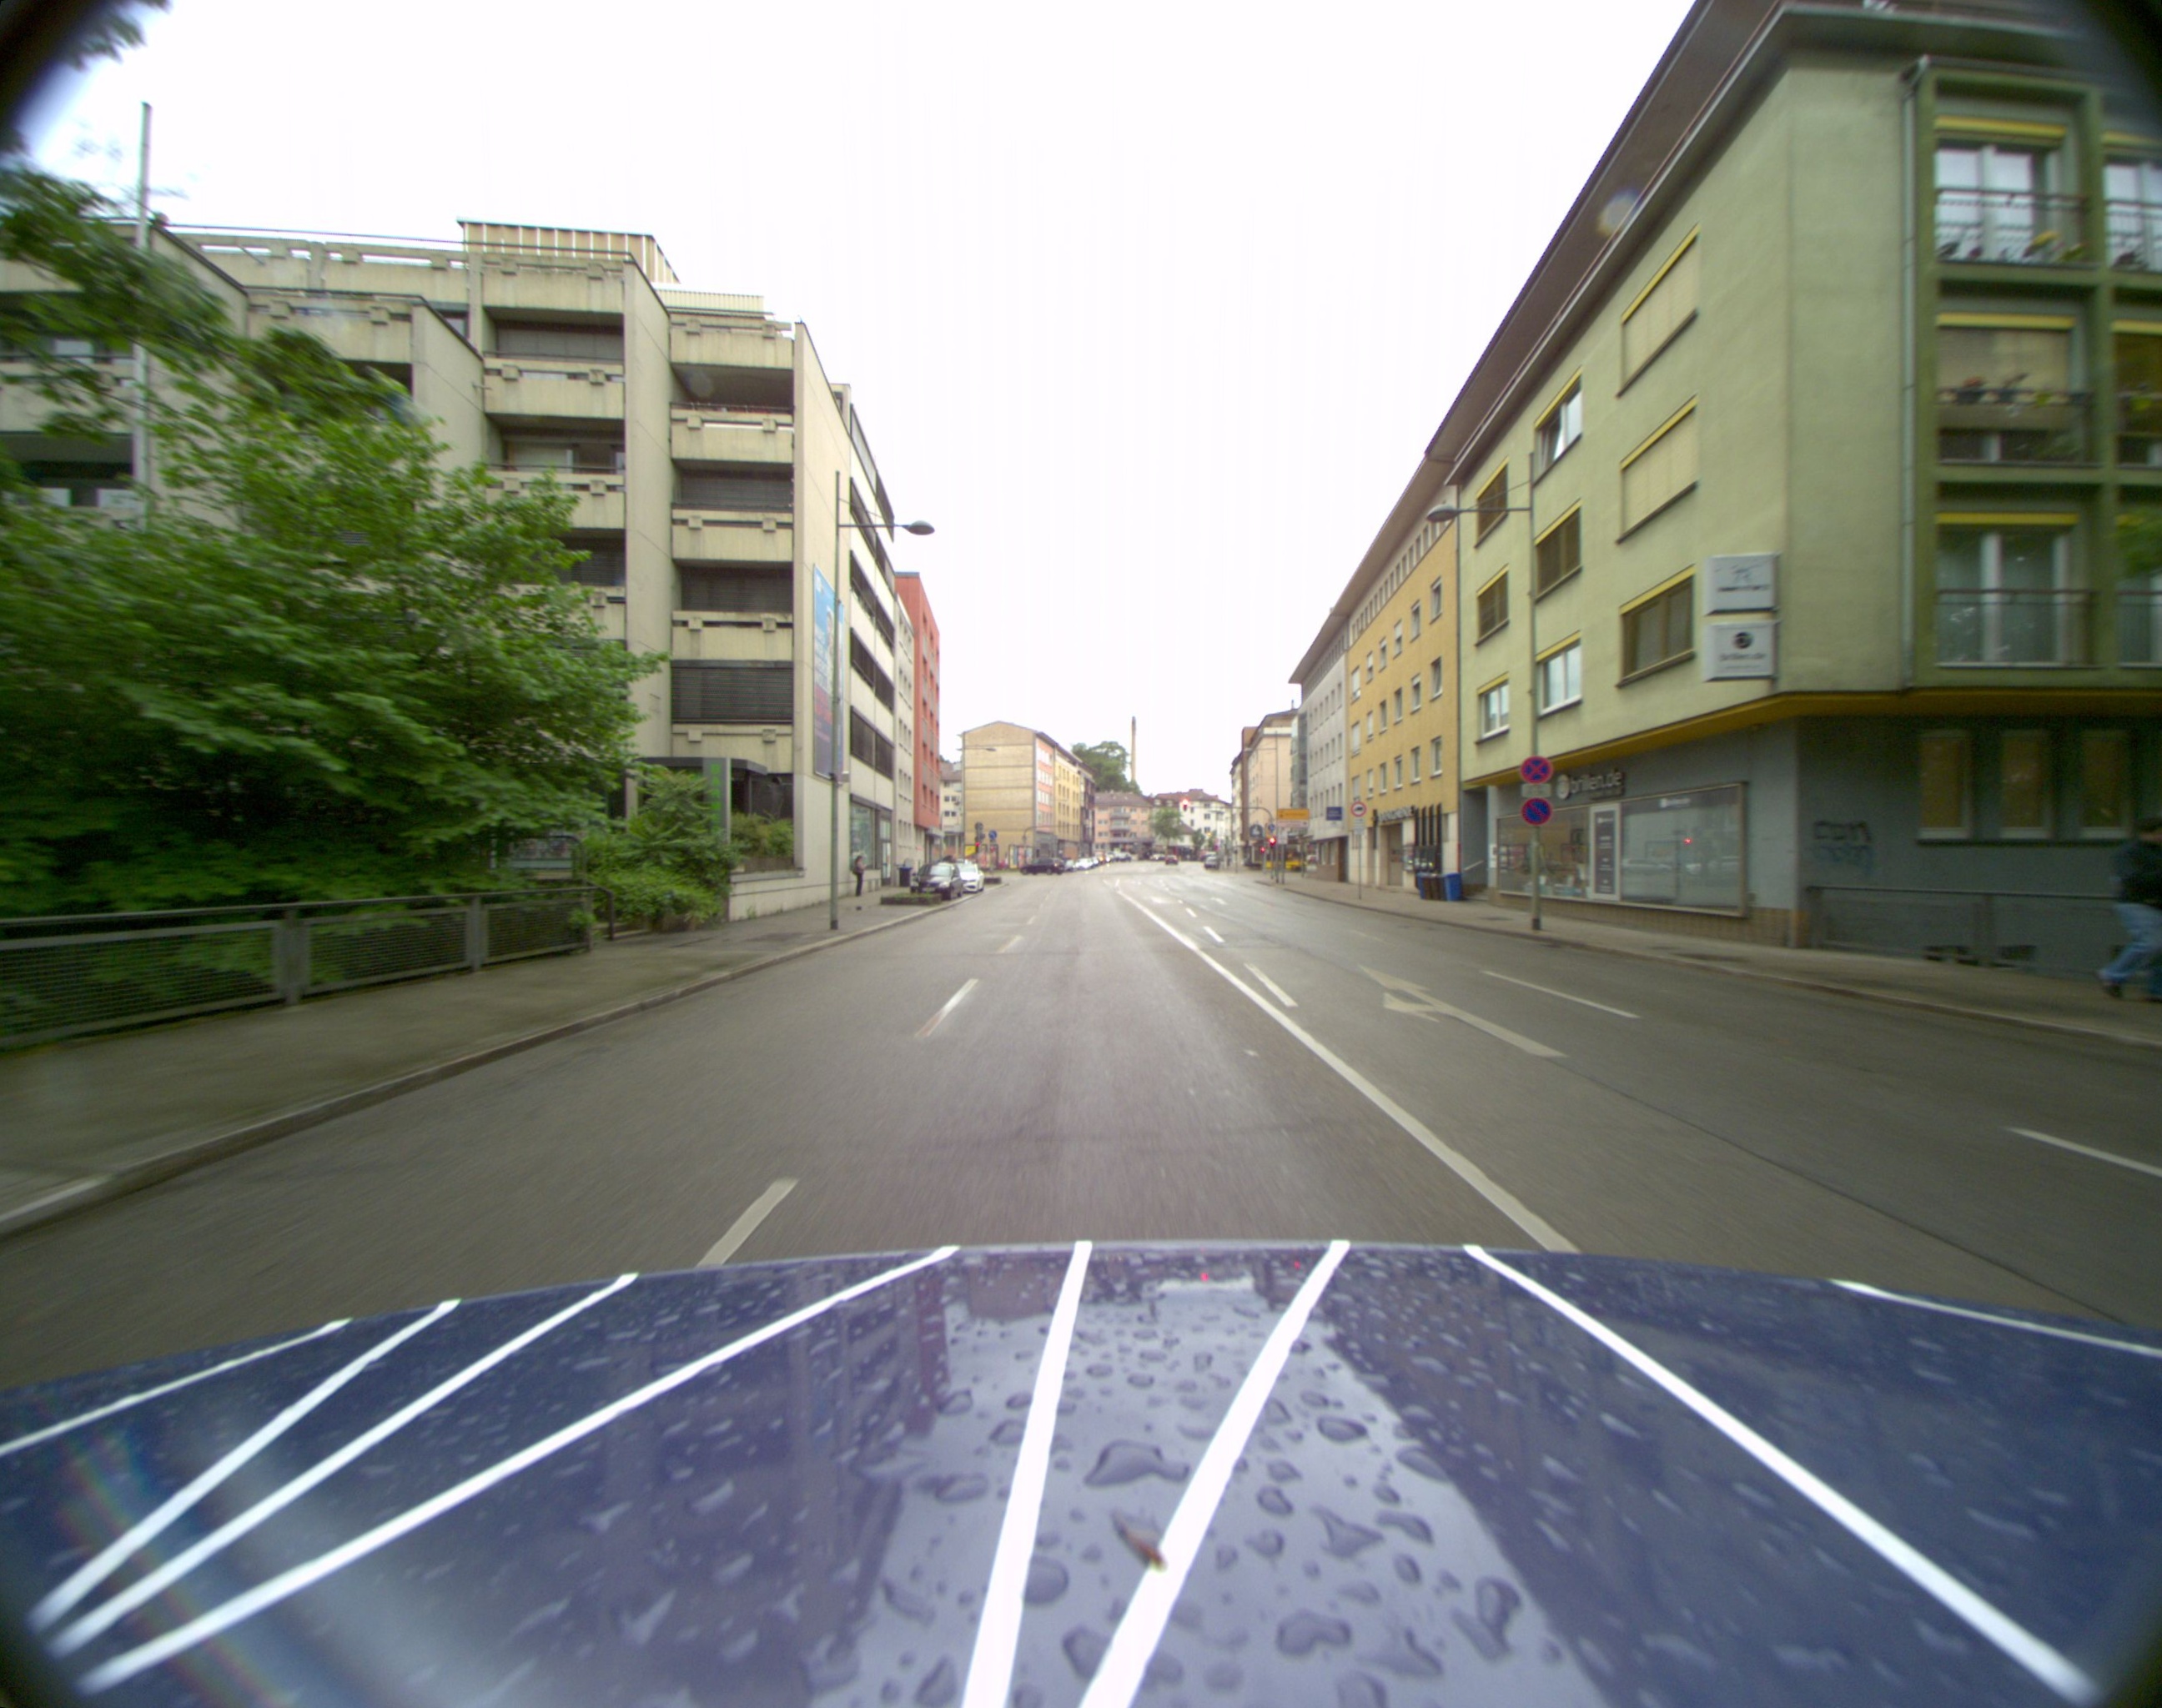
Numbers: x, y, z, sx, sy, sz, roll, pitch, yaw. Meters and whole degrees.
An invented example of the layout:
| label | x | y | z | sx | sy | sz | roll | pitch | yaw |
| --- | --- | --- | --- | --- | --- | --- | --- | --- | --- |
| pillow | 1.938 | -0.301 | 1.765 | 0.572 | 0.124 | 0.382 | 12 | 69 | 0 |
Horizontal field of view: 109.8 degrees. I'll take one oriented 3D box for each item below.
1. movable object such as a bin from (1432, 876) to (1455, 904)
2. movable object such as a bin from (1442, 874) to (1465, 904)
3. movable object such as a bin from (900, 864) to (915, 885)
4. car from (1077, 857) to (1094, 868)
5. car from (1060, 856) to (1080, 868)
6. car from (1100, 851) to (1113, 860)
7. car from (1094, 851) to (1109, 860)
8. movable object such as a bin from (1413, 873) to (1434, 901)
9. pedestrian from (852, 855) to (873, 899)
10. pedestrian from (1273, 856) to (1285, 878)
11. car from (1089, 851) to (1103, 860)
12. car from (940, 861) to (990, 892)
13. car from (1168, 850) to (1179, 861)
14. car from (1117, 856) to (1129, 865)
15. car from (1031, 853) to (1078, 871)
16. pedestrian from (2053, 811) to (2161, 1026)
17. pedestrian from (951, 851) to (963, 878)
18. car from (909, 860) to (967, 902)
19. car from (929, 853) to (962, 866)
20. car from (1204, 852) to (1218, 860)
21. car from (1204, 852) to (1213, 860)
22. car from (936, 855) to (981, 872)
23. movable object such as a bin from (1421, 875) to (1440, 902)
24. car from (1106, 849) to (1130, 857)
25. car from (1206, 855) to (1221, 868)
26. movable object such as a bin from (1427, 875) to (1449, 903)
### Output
| label | x | y | z | sx | sy | sz | roll | pitch | yaw |
| --- | --- | --- | --- | --- | --- | --- | --- | --- | --- |
| movable object such as a bin | 12.471 | 1.233 | 26.138 | 0.529 | 0.890 | 0.435 | -4 | 0 | 7 |
| movable object such as a bin | 12.545 | 1.184 | 25.590 | 0.529 | 0.955 | 0.435 | -4 | 0 | 7 |
| movable object such as a bin | -9.103 | 1.085 | 39.978 | 0.681 | 1.097 | 0.514 | 0 | 0 | -2 |
| car | 0.586 | 1.038 | 97.944 | 1.736 | 1.389 | 3.744 | 0 | 0 | 8 |
| car | -1.276 | 0.969 | 90.318 | 1.736 | 1.389 | 3.744 | 0 | 0 | 8 |
| car | 4.166 | 0.215 | 125.148 | 1.736 | 1.389 | 3.744 | 0 | 0 | 8 |
| car | 3.239 | 0.279 | 119.930 | 1.736 | 1.389 | 3.745 | 0 | 0 | 13 |
| movable object such as a bin | 12.570 | 1.205 | 27.893 | 0.517 | 0.994 | 0.524 | -4 | 0 | 7 |
| pedestrian | -8.470 | 0.882 | 29.518 | 0.599 | 1.650 | 0.691 | 3 | 0 | -7 |
| pedestrian | 15.063 | 0.995 | 57.871 | 0.785 | 1.578 | 0.674 | -2 | 0 | 21 |
| car | 2.187 | 0.241 | 111.634 | 1.737 | 1.389 | 3.743 | 0 | 0 | 7 |
| car | -5.660 | 1.072 | 37.578 | 1.835 | 1.412 | 4.569 | 1 | 0 | -2 |
| car | 14.829 | 0.241 | 121.676 | 1.748 | 1.586 | 4.002 | 0 | 0 | 7 |
| car | 7.633 | 1.166 | 137.534 | 1.670 | 1.761 | 4.004 | 1 | 0 | 11 |
| car | -2.501 | 0.725 | 70.959 | 3.988 | 1.674 | 1.884 | 0 | 0 | 35 |
| pedestrian | 10.393 | 0.600 | 7.432 | 0.752 | 2.002 | 0.782 | 0 | 0 | 7 |
| pedestrian | -9.864 | 0.809 | 60.451 | 0.806 | 2.140 | 0.737 | 0 | 0 | -24 |
| car | -5.777 | 1.054 | 31.094 | 1.706 | 1.549 | 3.804 | 1 | 0 | -2 |
| car | -17.558 | 0.727 | 98.434 | 3.783 | 1.701 | 1.842 | 0 | 0 | 19 |
| car | 29.201 | 0.439 | 170.564 | 2.014 | 1.754 | 4.770 | 1 | 0 | 20 |
| car | 25.191 | 0.433 | 150.352 | 1.591 | 1.518 | 3.491 | 0 | 0 | 14 |
| car | -11.996 | 0.904 | 74.466 | 3.991 | 1.612 | 1.839 | 0 | 0 | 18 |
| movable object such as a bin | 12.451 | 1.221 | 27.066 | 0.465 | 0.922 | 0.428 | -4 | 0 | 7 |
| car | 7.299 | -0.275 | 149.632 | 2.038 | 1.521 | 4.894 | 0 | 0 | -40 |
| car | 17.242 | 0.986 | 98.660 | 1.834 | 1.612 | 4.003 | 0 | 0 | 10 |
| movable object such as a bin | 12.497 | 1.210 | 26.599 | 0.529 | 0.922 | 0.426 | -4 | 0 | 7 |
